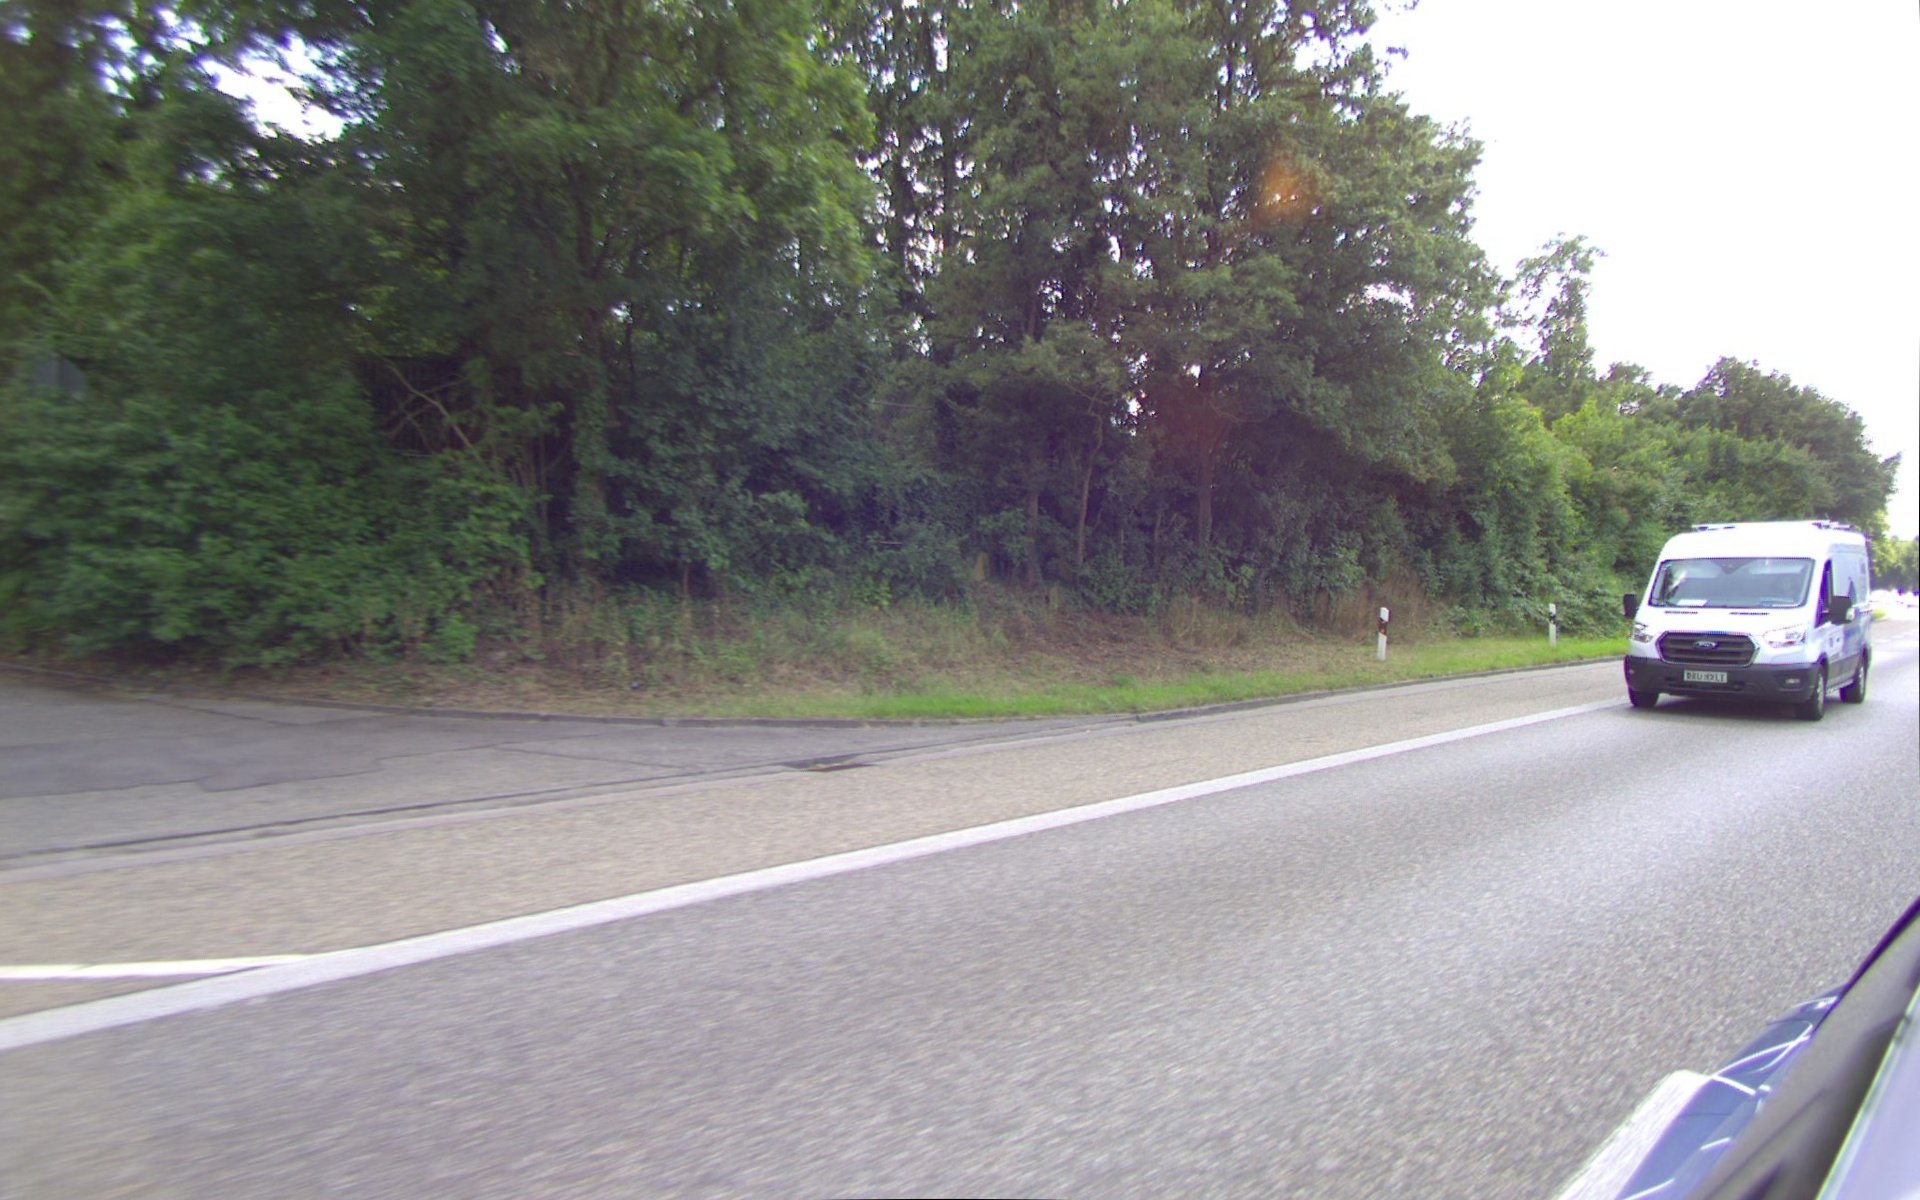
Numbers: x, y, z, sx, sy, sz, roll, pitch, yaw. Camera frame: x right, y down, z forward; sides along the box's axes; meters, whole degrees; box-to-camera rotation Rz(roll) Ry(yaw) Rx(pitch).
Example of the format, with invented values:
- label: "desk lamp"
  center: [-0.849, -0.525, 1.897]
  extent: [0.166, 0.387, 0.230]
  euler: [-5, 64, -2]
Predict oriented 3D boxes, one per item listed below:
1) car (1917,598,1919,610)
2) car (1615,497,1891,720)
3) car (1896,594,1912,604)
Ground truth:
- label: "car"
  center: [127.498, 0.518, 133.411]
  extent: [1.782, 1.540, 3.936]
  euler: [3, 2, 45]
- label: "car"
  center: [11.103, 0.082, 14.003]
  extent: [5.187, 2.539, 2.102]
  euler: [0, 0, -41]
- label: "car"
  center: [158.142, -0.132, 169.539]
  extent: [1.781, 1.540, 3.938]
  euler: [3, 2, 43]
